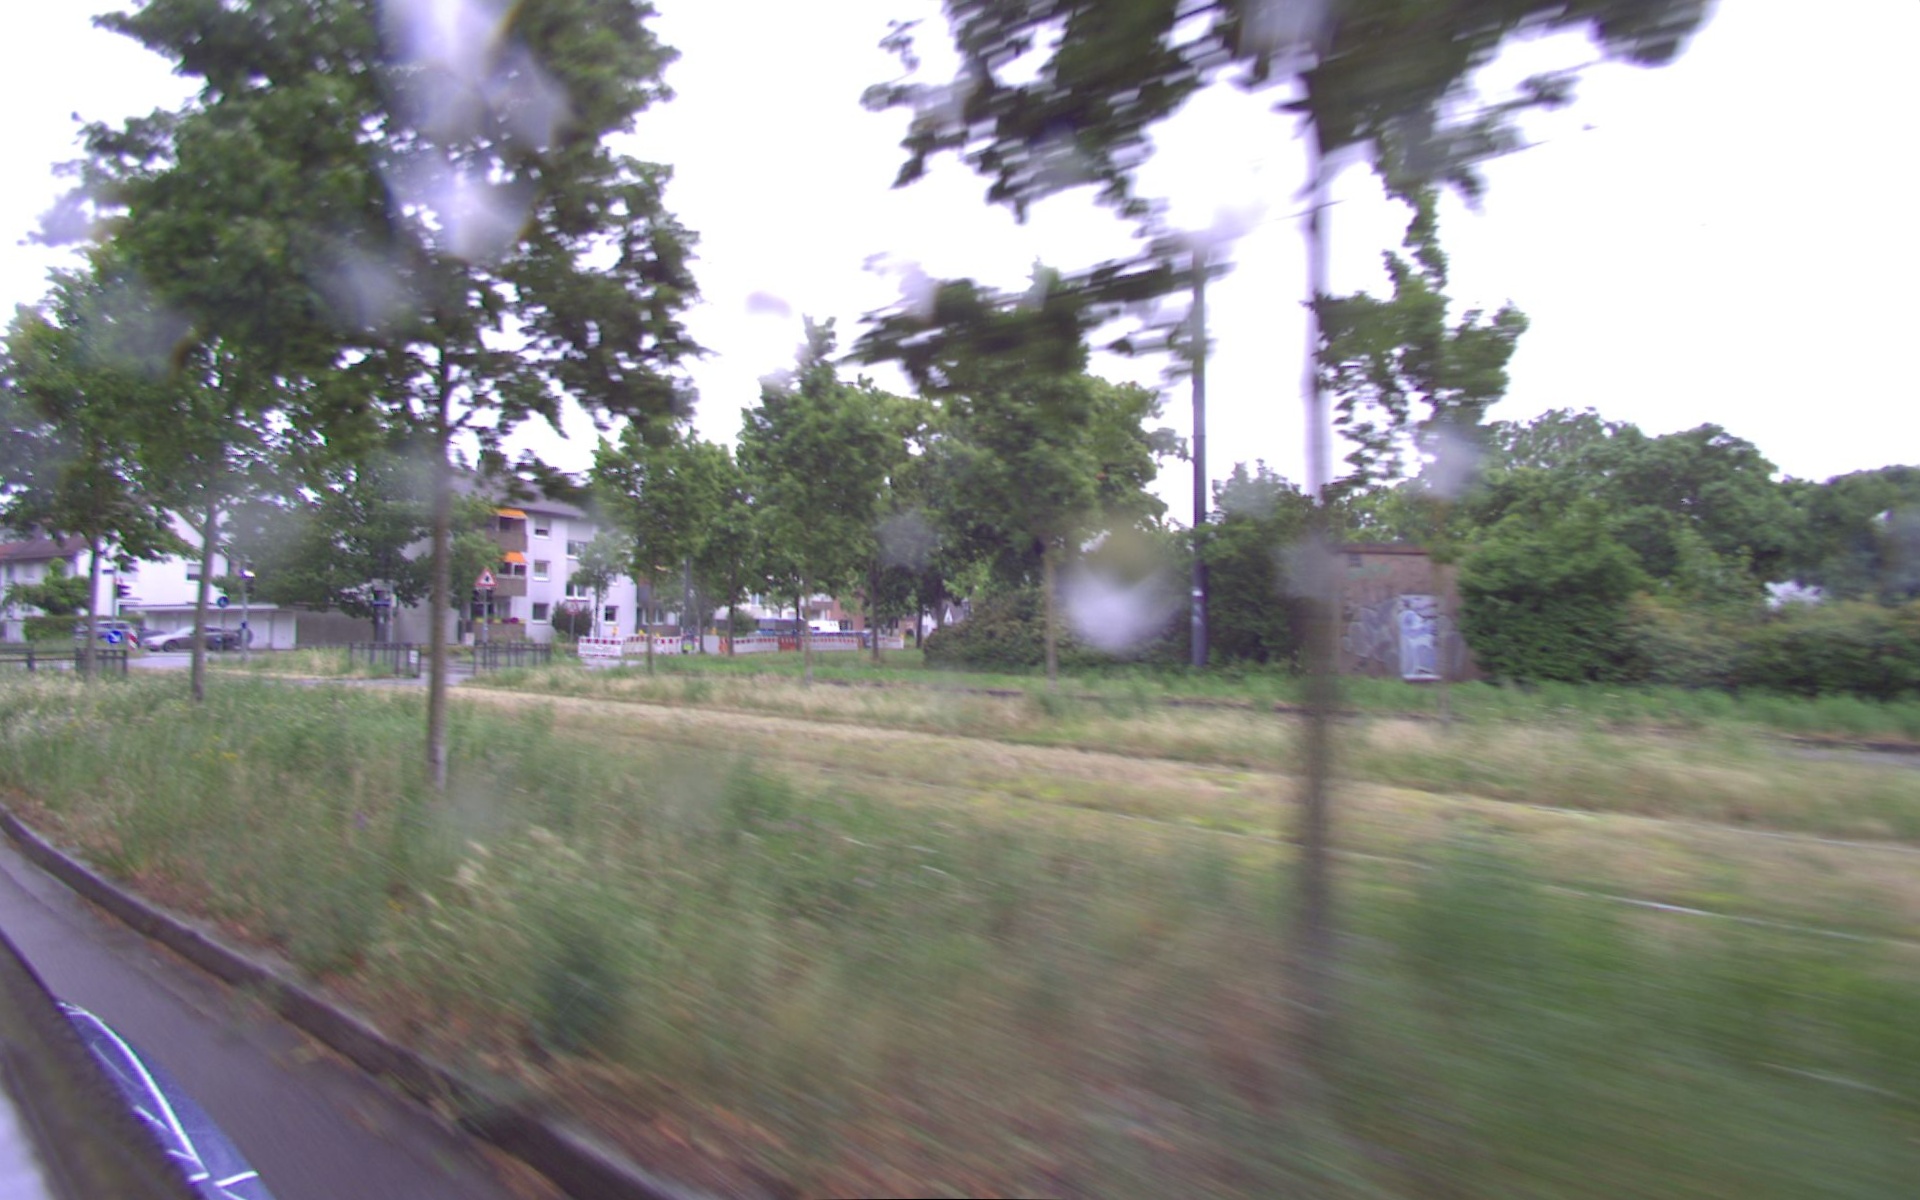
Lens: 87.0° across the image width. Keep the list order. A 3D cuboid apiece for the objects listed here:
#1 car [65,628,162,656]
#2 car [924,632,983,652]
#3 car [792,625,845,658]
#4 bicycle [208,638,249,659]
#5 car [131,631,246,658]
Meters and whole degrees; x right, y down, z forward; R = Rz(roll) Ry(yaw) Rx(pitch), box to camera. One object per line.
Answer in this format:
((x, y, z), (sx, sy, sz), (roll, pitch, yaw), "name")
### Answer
((-49.598, 2.455, 59.375), (1.883, 1.588, 3.964), (-1, -3, 26), "car")
((-0.432, 2.798, 67.482), (3.681, 1.258, 1.669), (1, -3, -11), "car")
((-10.928, 3.238, 78.518), (1.908, 2.465, 4.429), (-1, -3, 27), "car")
((-37.693, 2.517, 52.139), (1.817, 1.027, 0.482), (-1, 1, 3), "bicycle")
((-42.332, 2.409, 55.662), (1.840, 1.376, 4.693), (-1, -2, 29), "car")
